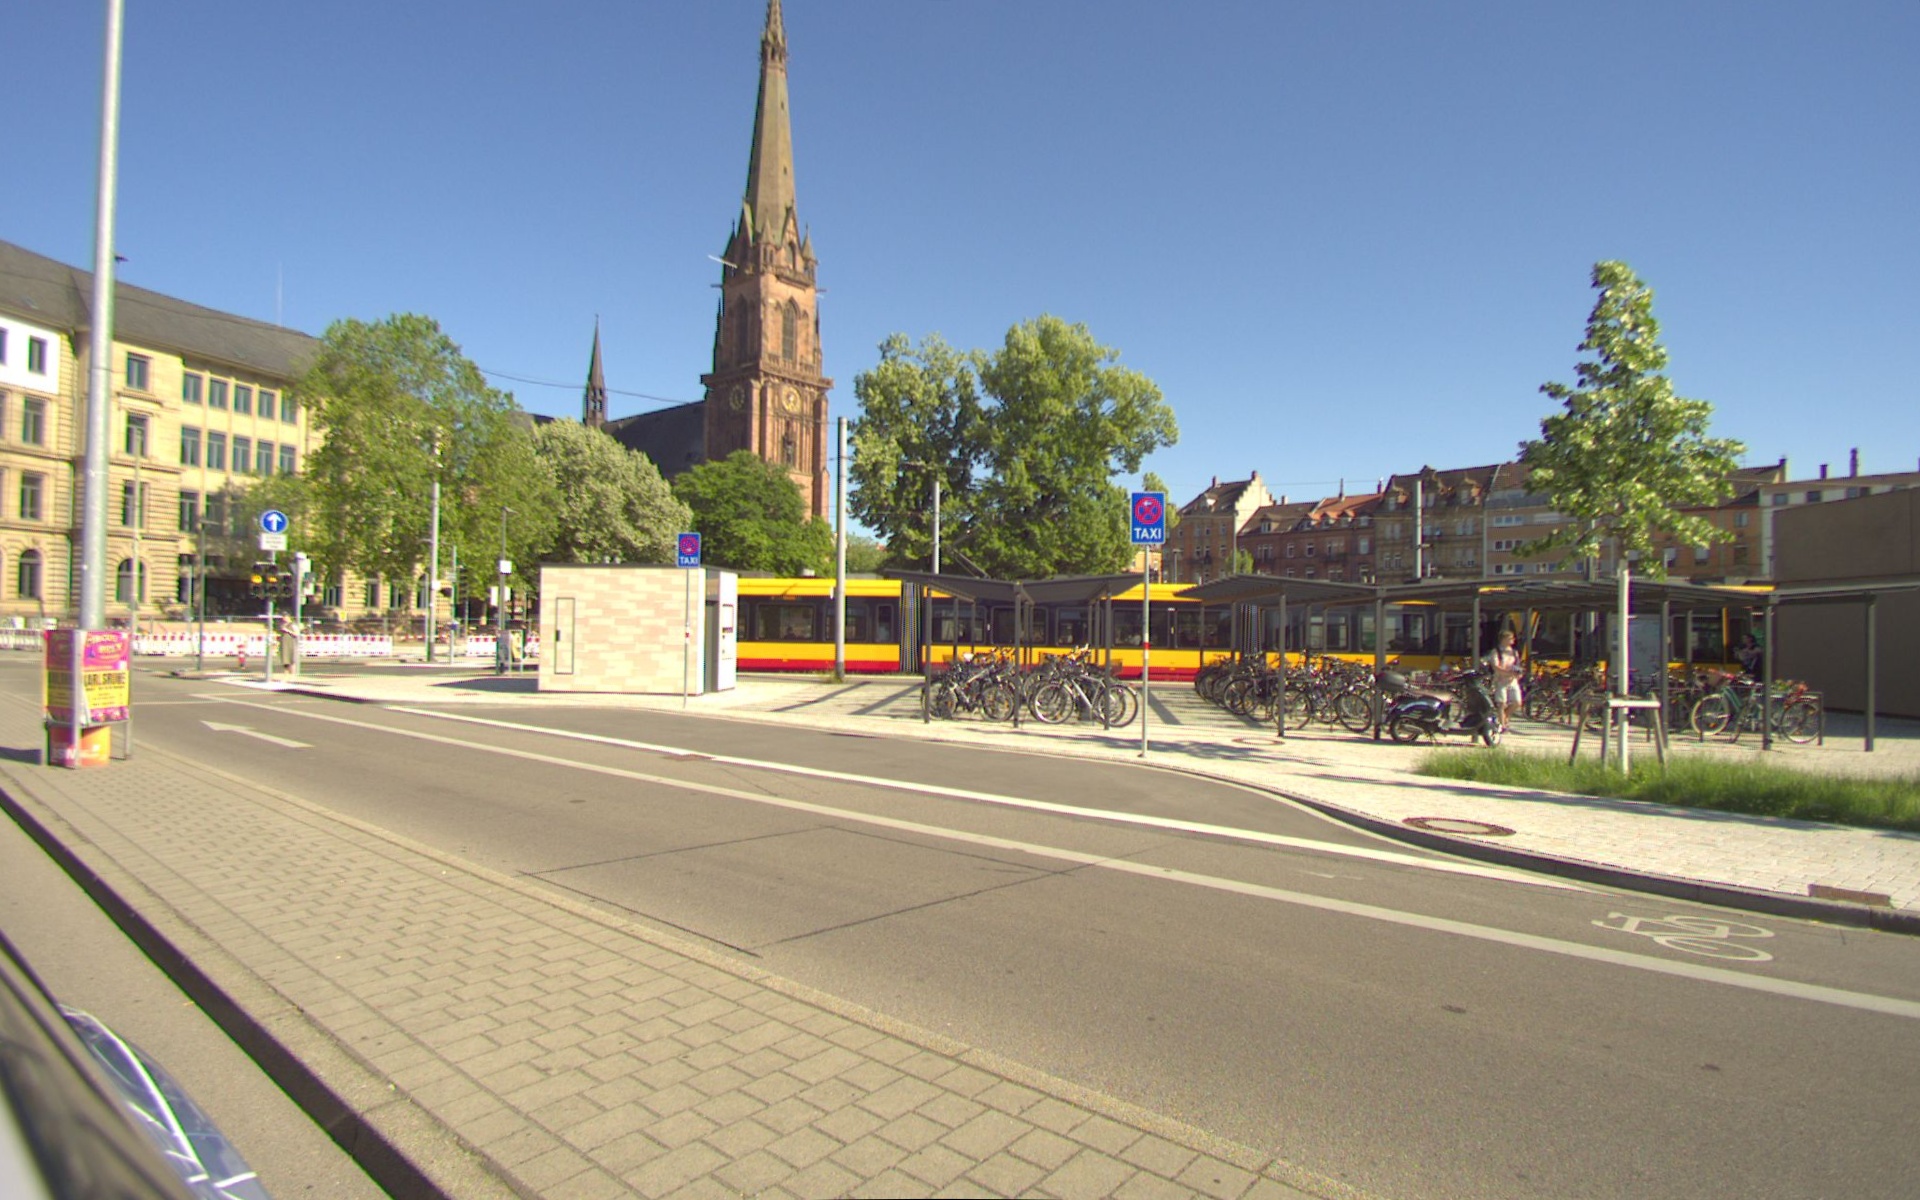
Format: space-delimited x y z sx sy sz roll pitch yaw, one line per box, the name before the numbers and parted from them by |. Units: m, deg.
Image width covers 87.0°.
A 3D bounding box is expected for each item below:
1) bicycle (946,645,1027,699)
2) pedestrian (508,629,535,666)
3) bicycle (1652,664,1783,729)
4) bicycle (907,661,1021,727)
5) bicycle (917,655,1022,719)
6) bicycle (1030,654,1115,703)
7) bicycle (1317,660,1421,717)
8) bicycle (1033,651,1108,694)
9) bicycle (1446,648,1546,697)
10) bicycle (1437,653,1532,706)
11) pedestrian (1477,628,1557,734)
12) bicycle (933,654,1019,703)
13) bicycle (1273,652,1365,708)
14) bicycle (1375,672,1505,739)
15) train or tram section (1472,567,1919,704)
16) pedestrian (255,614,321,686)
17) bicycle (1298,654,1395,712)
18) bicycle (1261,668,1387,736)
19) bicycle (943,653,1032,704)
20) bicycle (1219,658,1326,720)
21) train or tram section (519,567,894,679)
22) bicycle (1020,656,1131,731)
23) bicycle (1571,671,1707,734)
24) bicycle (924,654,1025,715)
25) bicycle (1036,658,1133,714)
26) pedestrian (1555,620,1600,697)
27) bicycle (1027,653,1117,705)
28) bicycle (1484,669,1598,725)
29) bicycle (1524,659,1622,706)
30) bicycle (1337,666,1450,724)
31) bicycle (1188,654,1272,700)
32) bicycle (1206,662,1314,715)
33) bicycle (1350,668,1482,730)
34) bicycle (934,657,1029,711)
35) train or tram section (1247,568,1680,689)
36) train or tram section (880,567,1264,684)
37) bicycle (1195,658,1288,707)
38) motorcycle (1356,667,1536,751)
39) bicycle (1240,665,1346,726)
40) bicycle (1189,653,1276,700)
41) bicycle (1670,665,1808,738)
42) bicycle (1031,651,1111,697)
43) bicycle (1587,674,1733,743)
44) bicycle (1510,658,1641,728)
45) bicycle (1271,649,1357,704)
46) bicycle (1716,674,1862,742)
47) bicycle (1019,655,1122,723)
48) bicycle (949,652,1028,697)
bicycle | 0.629 1.653 23.341 1.809 1.188 0.627 0 -2 9
pedestrian | -21.086 2.262 48.665 0.923 1.754 0.805 0 -2 5
bicycle | 13.657 1.722 18.287 1.808 1.101 0.627 0 -2 7
bicycle | 0.073 1.587 17.294 1.847 1.015 0.699 2 -2 9
bicycle | 0.183 1.542 18.163 1.809 1.074 0.627 0 -2 9
bicycle | 2.444 1.693 22.049 1.808 1.015 0.627 0 -2 7
bicycle | 8.141 1.752 20.189 1.808 1.088 0.627 0 -2 7
bicycle | 2.699 1.765 24.735 1.808 1.015 0.627 0 -2 7
bicycle | 11.754 1.583 22.234 1.809 1.015 0.627 0 -2 9
bicycle | 12.067 1.821 23.330 1.809 1.140 0.627 0 -2 9
pedestrian | 9.344 1.337 17.023 0.829 1.718 1.022 0 -2 7
bicycle | 0.356 1.696 22.097 1.809 1.015 0.627 0 -2 9
bicycle | 7.995 1.773 22.605 1.808 1.198 0.647 0 -2 7
bicycle | 7.835 1.708 16.577 1.808 1.015 0.627 0 -2 7
train or tram section | 21.459 0.961 28.633 12.179 3.628 2.748 0 -2 7
pedestrian | -18.096 1.329 27.269 0.820 1.869 1.223 0 -2 15
bicycle | 8.178 1.752 21.454 1.808 1.170 0.627 0 -2 7
bicycle | 6.045 1.681 16.905 1.871 1.050 0.688 0 -2 9
bicycle | 0.580 1.620 21.066 1.809 1.015 0.627 0 -2 9
bicycle | 5.943 1.687 19.336 1.859 1.101 0.626 0 -2 8
train or tram section | -8.631 0.781 35.078 12.382 3.628 2.796 0 -2 6
bicycle | 1.932 1.560 17.060 1.808 1.167 0.627 1 -2 7
bicycle | 11.670 1.747 17.452 1.872 1.004 0.499 0 -2 13
bicycle | 0.280 1.548 18.691 1.809 1.059 0.571 0 -2 9
bicycle | 2.388 1.640 19.467 1.808 1.015 0.745 0 -2 7
pedestrian | 15.447 1.444 25.305 0.700 1.869 0.751 2 -2 -38
bicycle | 2.296 1.614 20.775 1.808 1.015 0.627 0 -2 7
bicycle | 11.329 1.878 19.768 1.809 1.015 0.627 0 -2 9
bicycle | 14.120 1.887 23.333 1.808 1.015 0.627 0 -2 7
bicycle | 8.067 1.754 18.897 1.808 1.015 0.627 0 -2 7
bicycle | 6.318 1.792 23.725 1.808 1.015 0.627 0 -2 6
bicycle | 6.016 1.766 20.358 1.978 1.015 0.628 0 -2 4
bicycle | 7.986 1.735 17.803 2.003 1.015 0.627 0 -2 7
bicycle | 0.428 1.640 19.911 1.809 1.015 0.627 0 -2 9
train or tram section | 15.714 0.883 32.496 12.174 3.628 2.828 0 -2 6
train or tram section | 3.588 0.825 33.748 12.174 3.628 2.796 0 -2 6
bicycle | 6.036 1.762 21.732 1.805 1.015 0.629 0 -2 0
motorcycle | 7.236 1.608 15.160 2.333 1.167 0.610 0 -2 7
bicycle | 5.920 1.690 18.058 1.731 1.015 0.547 0 -2 10
bicycle | 6.188 1.727 23.037 1.807 1.015 0.628 0 -2 5
bicycle | 13.058 1.693 16.991 1.805 1.155 0.629 0 -2 0
bicycle | 2.577 1.709 23.535 1.808 1.015 0.627 0 -2 7
bicycle | 11.226 1.727 16.276 1.809 1.015 0.627 0 -2 9
bicycle | 11.364 1.709 18.728 2.029 1.218 0.505 0 -2 8
bicycle | 8.303 1.791 23.803 1.808 1.242 0.627 0 -2 7
bicycle | 13.087 1.700 16.004 1.803 1.015 0.629 1 -2 -3
bicycle | 1.977 1.582 18.202 1.808 1.157 0.627 0 -2 7
bicycle | 0.686 1.756 24.041 1.809 1.015 0.627 0 -2 9
